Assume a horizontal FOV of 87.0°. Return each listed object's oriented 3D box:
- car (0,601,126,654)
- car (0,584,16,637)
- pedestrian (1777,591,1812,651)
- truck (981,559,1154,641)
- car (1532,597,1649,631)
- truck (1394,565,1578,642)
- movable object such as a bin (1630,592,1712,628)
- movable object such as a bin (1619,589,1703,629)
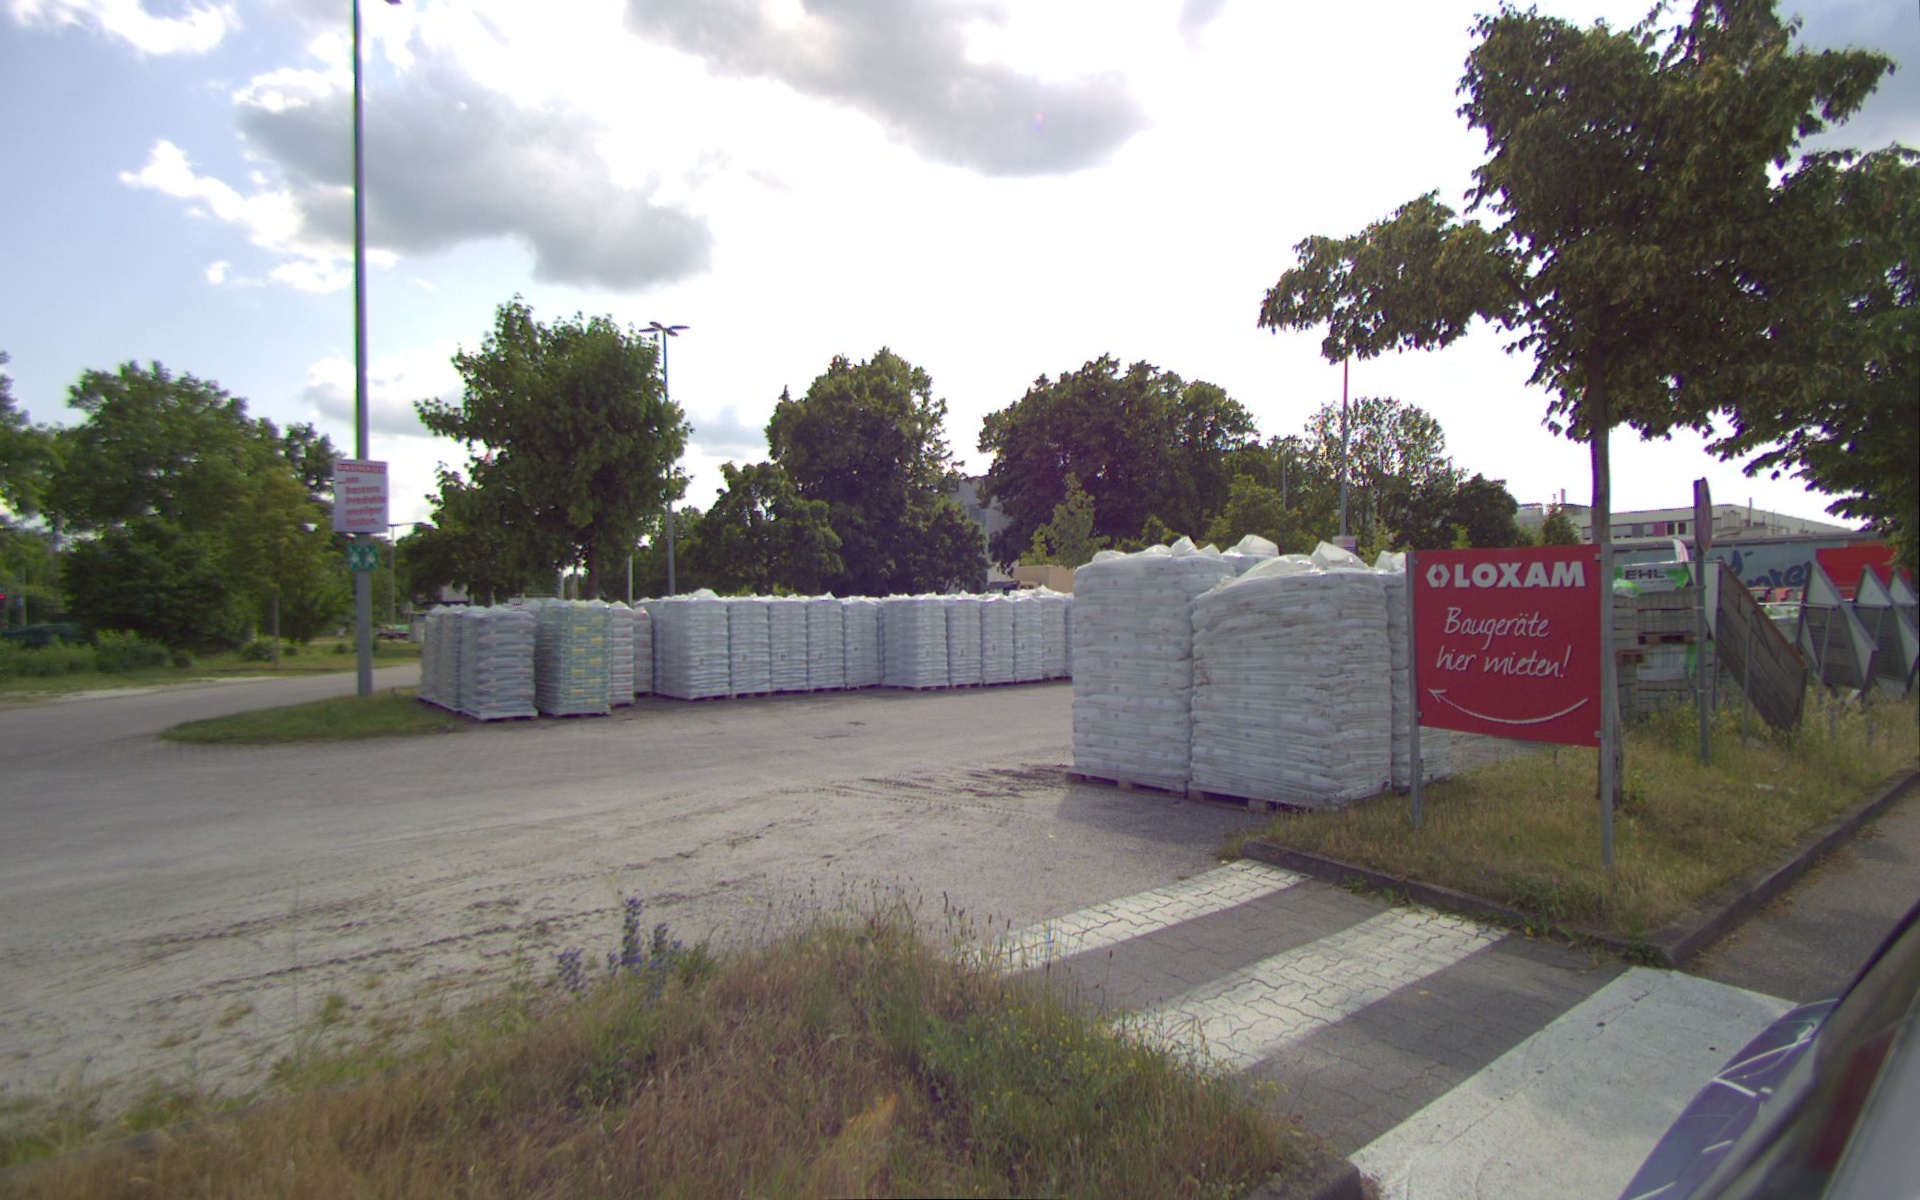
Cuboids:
[{"bbox_3d":[-41.699,1.221,46.785,2.204,2.038,5.400,-3,2,-7],"label":"car"},{"bbox_3d":[-47.694,0.564,48.117,1.702,2.575,4.156,-3,0,-1],"label":"car"},{"bbox_3d":[24.418,0.589,29.613,0.863,1.713,0.600,-1,0,-38],"label":"pedestrian"},{"bbox_3d":[5.296,0.008,48.628,8.870,3.644,2.728,0,-1,-38],"label":"truck"},{"bbox_3d":[27.803,0.606,44.707,1.592,1.432,4.135,0,0,-44],"label":"car"},{"bbox_3d":[18.577,0.137,35.974,2.080,2.547,5.435,1,-1,-41],"label":"truck"},{"bbox_3d":[34.775,0.488,49.541,1.364,1.691,3.009,1,-1,-39],"label":"movable object such as a bin"},{"bbox_3d":[33.353,0.428,48.179,1.364,1.867,3.009,1,-1,-39],"label":"movable object such as a bin"}]
